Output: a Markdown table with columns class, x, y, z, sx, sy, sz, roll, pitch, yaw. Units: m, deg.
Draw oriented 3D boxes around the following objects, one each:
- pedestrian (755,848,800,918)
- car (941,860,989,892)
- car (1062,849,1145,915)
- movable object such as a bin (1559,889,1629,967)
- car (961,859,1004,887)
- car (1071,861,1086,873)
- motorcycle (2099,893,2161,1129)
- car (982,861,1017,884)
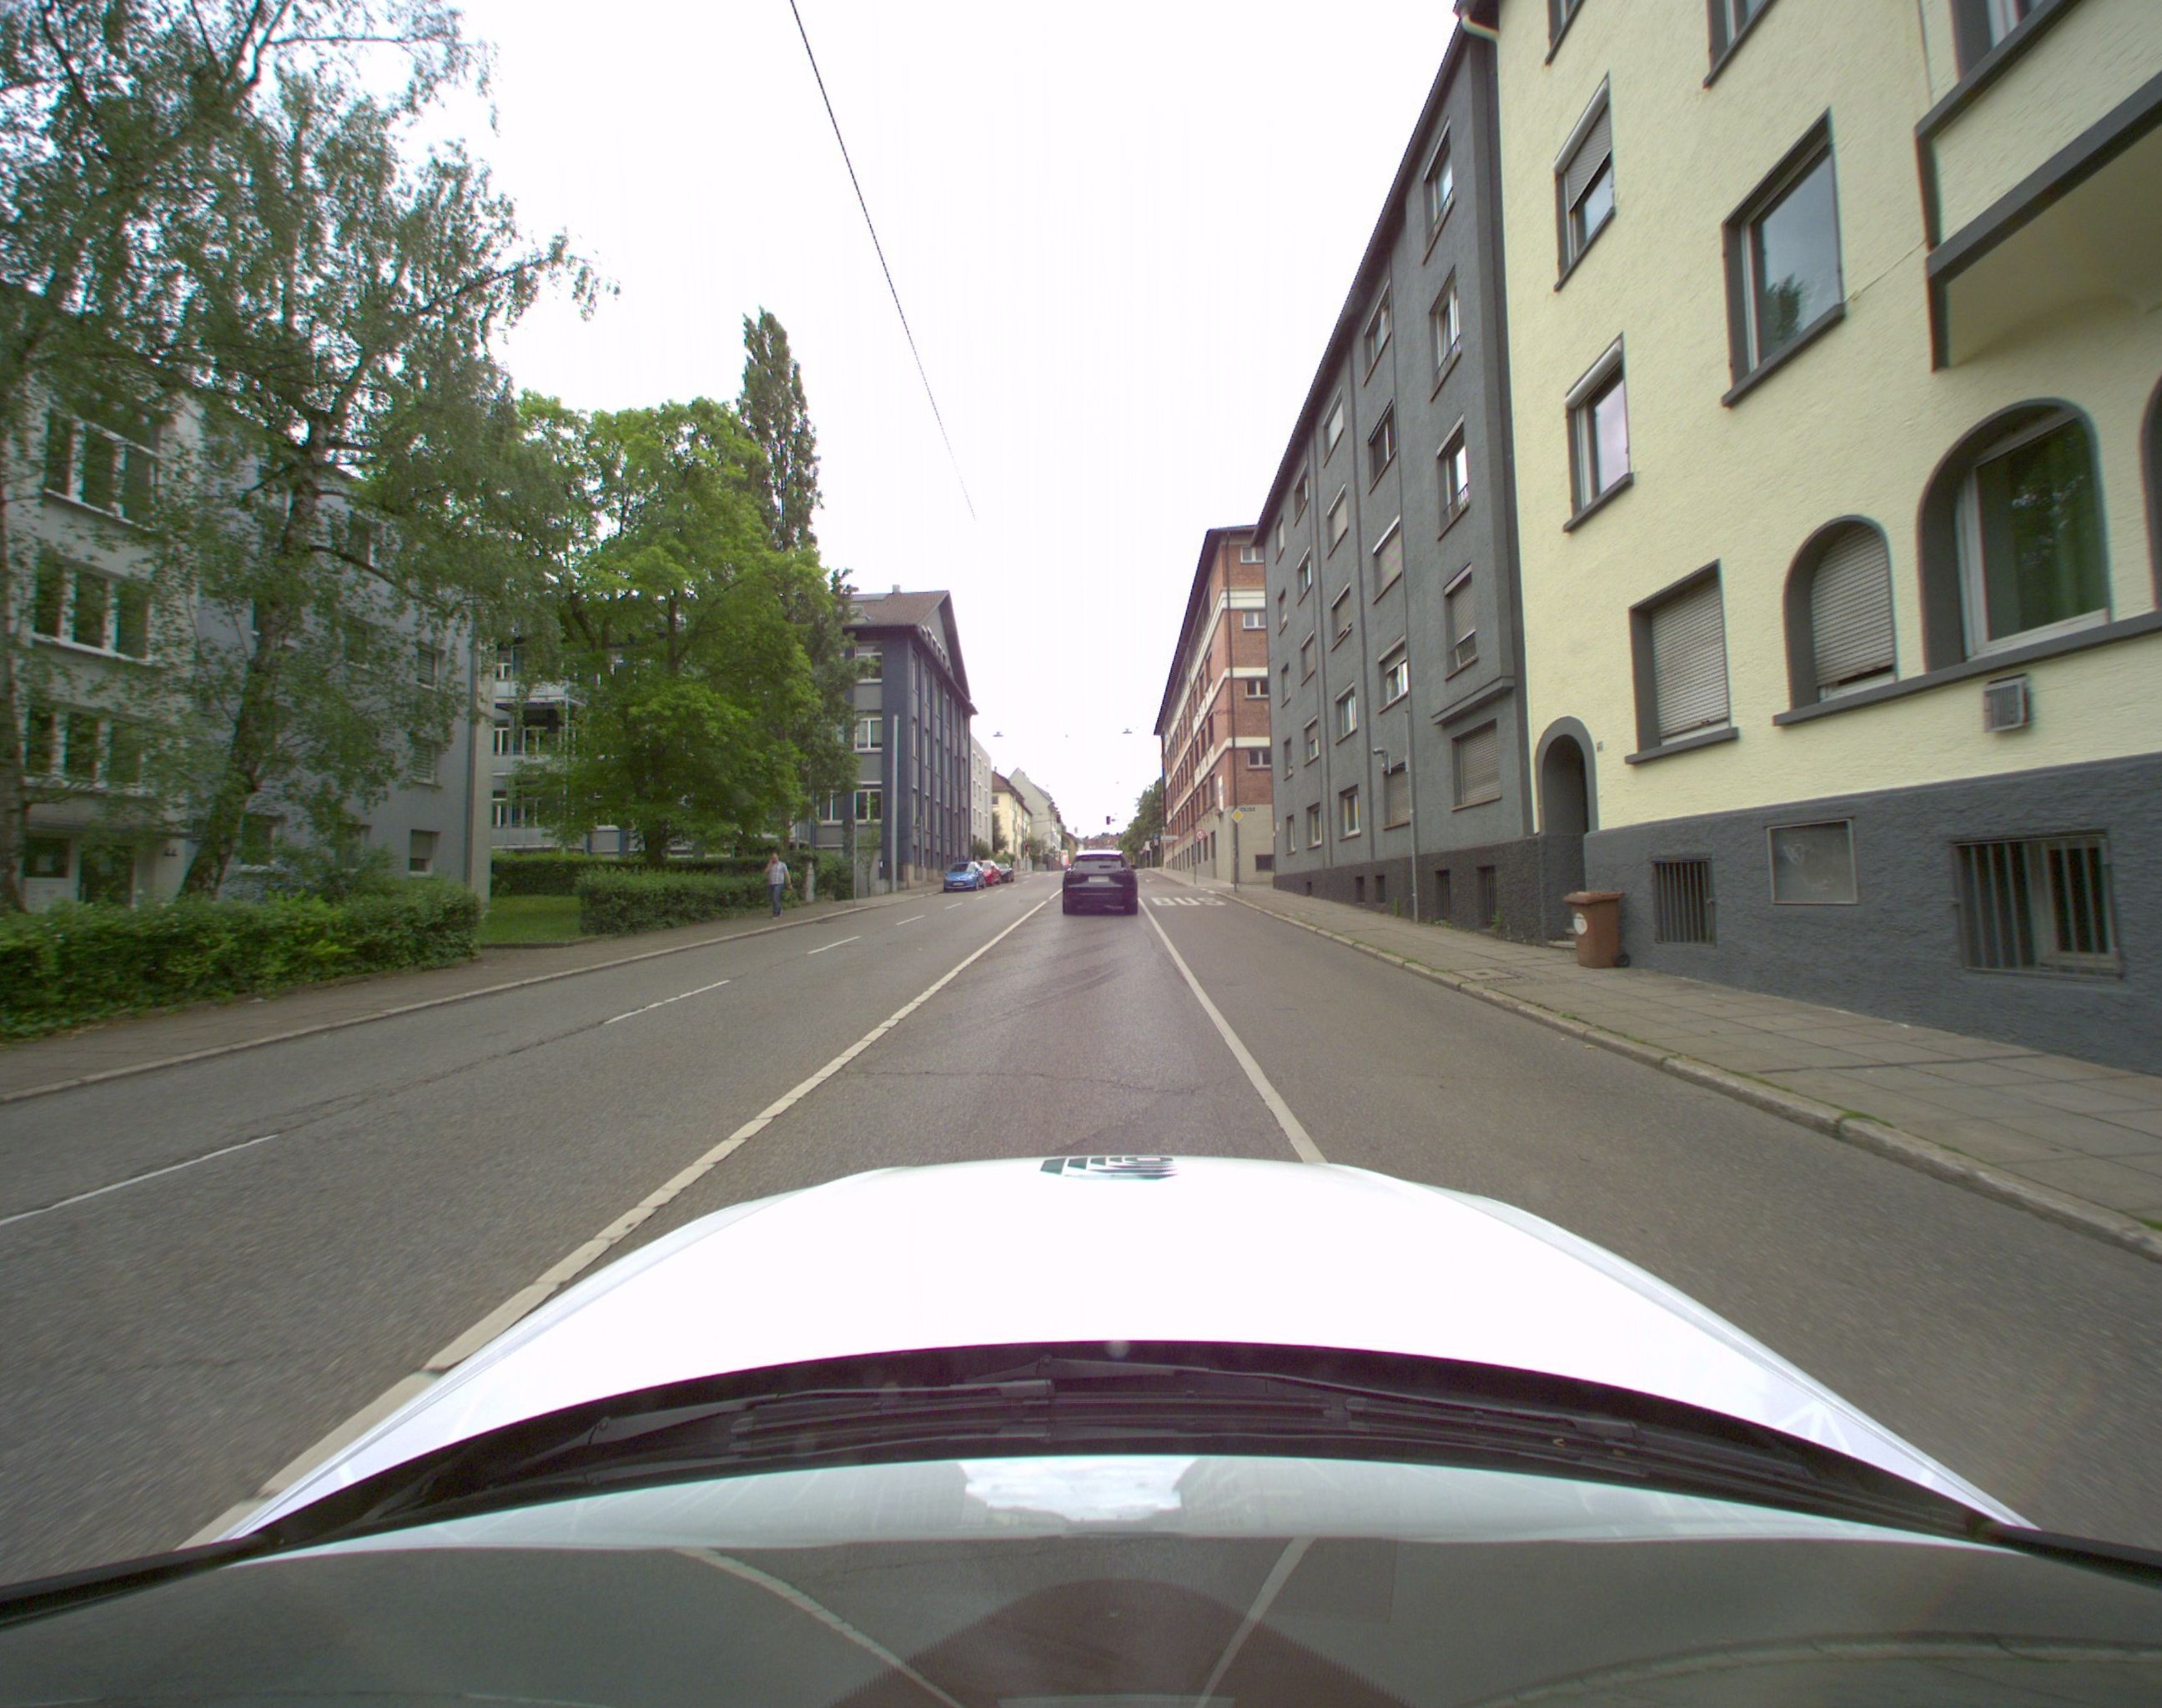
| class | x | y | z | sx | sy | sz | roll | pitch | yaw |
| --- | --- | --- | --- | --- | --- | --- | --- | --- | --- |
| pedestrian | -8.629 | 0.806 | 23.188 | 0.879 | 1.950 | 0.868 | 1 | 0 | 1 |
| car | -5.867 | 1.091 | 41.637 | 1.708 | 1.424 | 3.991 | -3 | 0 | 2 |
| car | 0.523 | 0.721 | 22.613 | 2.019 | 1.641 | 4.352 | 0 | -1 | -2 |
| movable object such as a bin | 6.295 | 0.898 | 10.012 | 0.473 | 0.892 | 0.517 | -4 | 0 | 1 |
| car | -5.676 | 1.089 | 47.222 | 1.707 | 1.456 | 3.992 | -3 | 0 | 3 |
| car | -0.363 | 2.007 | 127.748 | 1.889 | 1.691 | 4.004 | -3 | 0 | 3 |
| motorcycle | 5.657 | 0.784 | 3.162 | 0.536 | 1.156 | 2.225 | -4 | 0 | -1 |
| car | -5.281 | 1.168 | 53.159 | 1.708 | 1.341 | 3.906 | -3 | 0 | 2 |
